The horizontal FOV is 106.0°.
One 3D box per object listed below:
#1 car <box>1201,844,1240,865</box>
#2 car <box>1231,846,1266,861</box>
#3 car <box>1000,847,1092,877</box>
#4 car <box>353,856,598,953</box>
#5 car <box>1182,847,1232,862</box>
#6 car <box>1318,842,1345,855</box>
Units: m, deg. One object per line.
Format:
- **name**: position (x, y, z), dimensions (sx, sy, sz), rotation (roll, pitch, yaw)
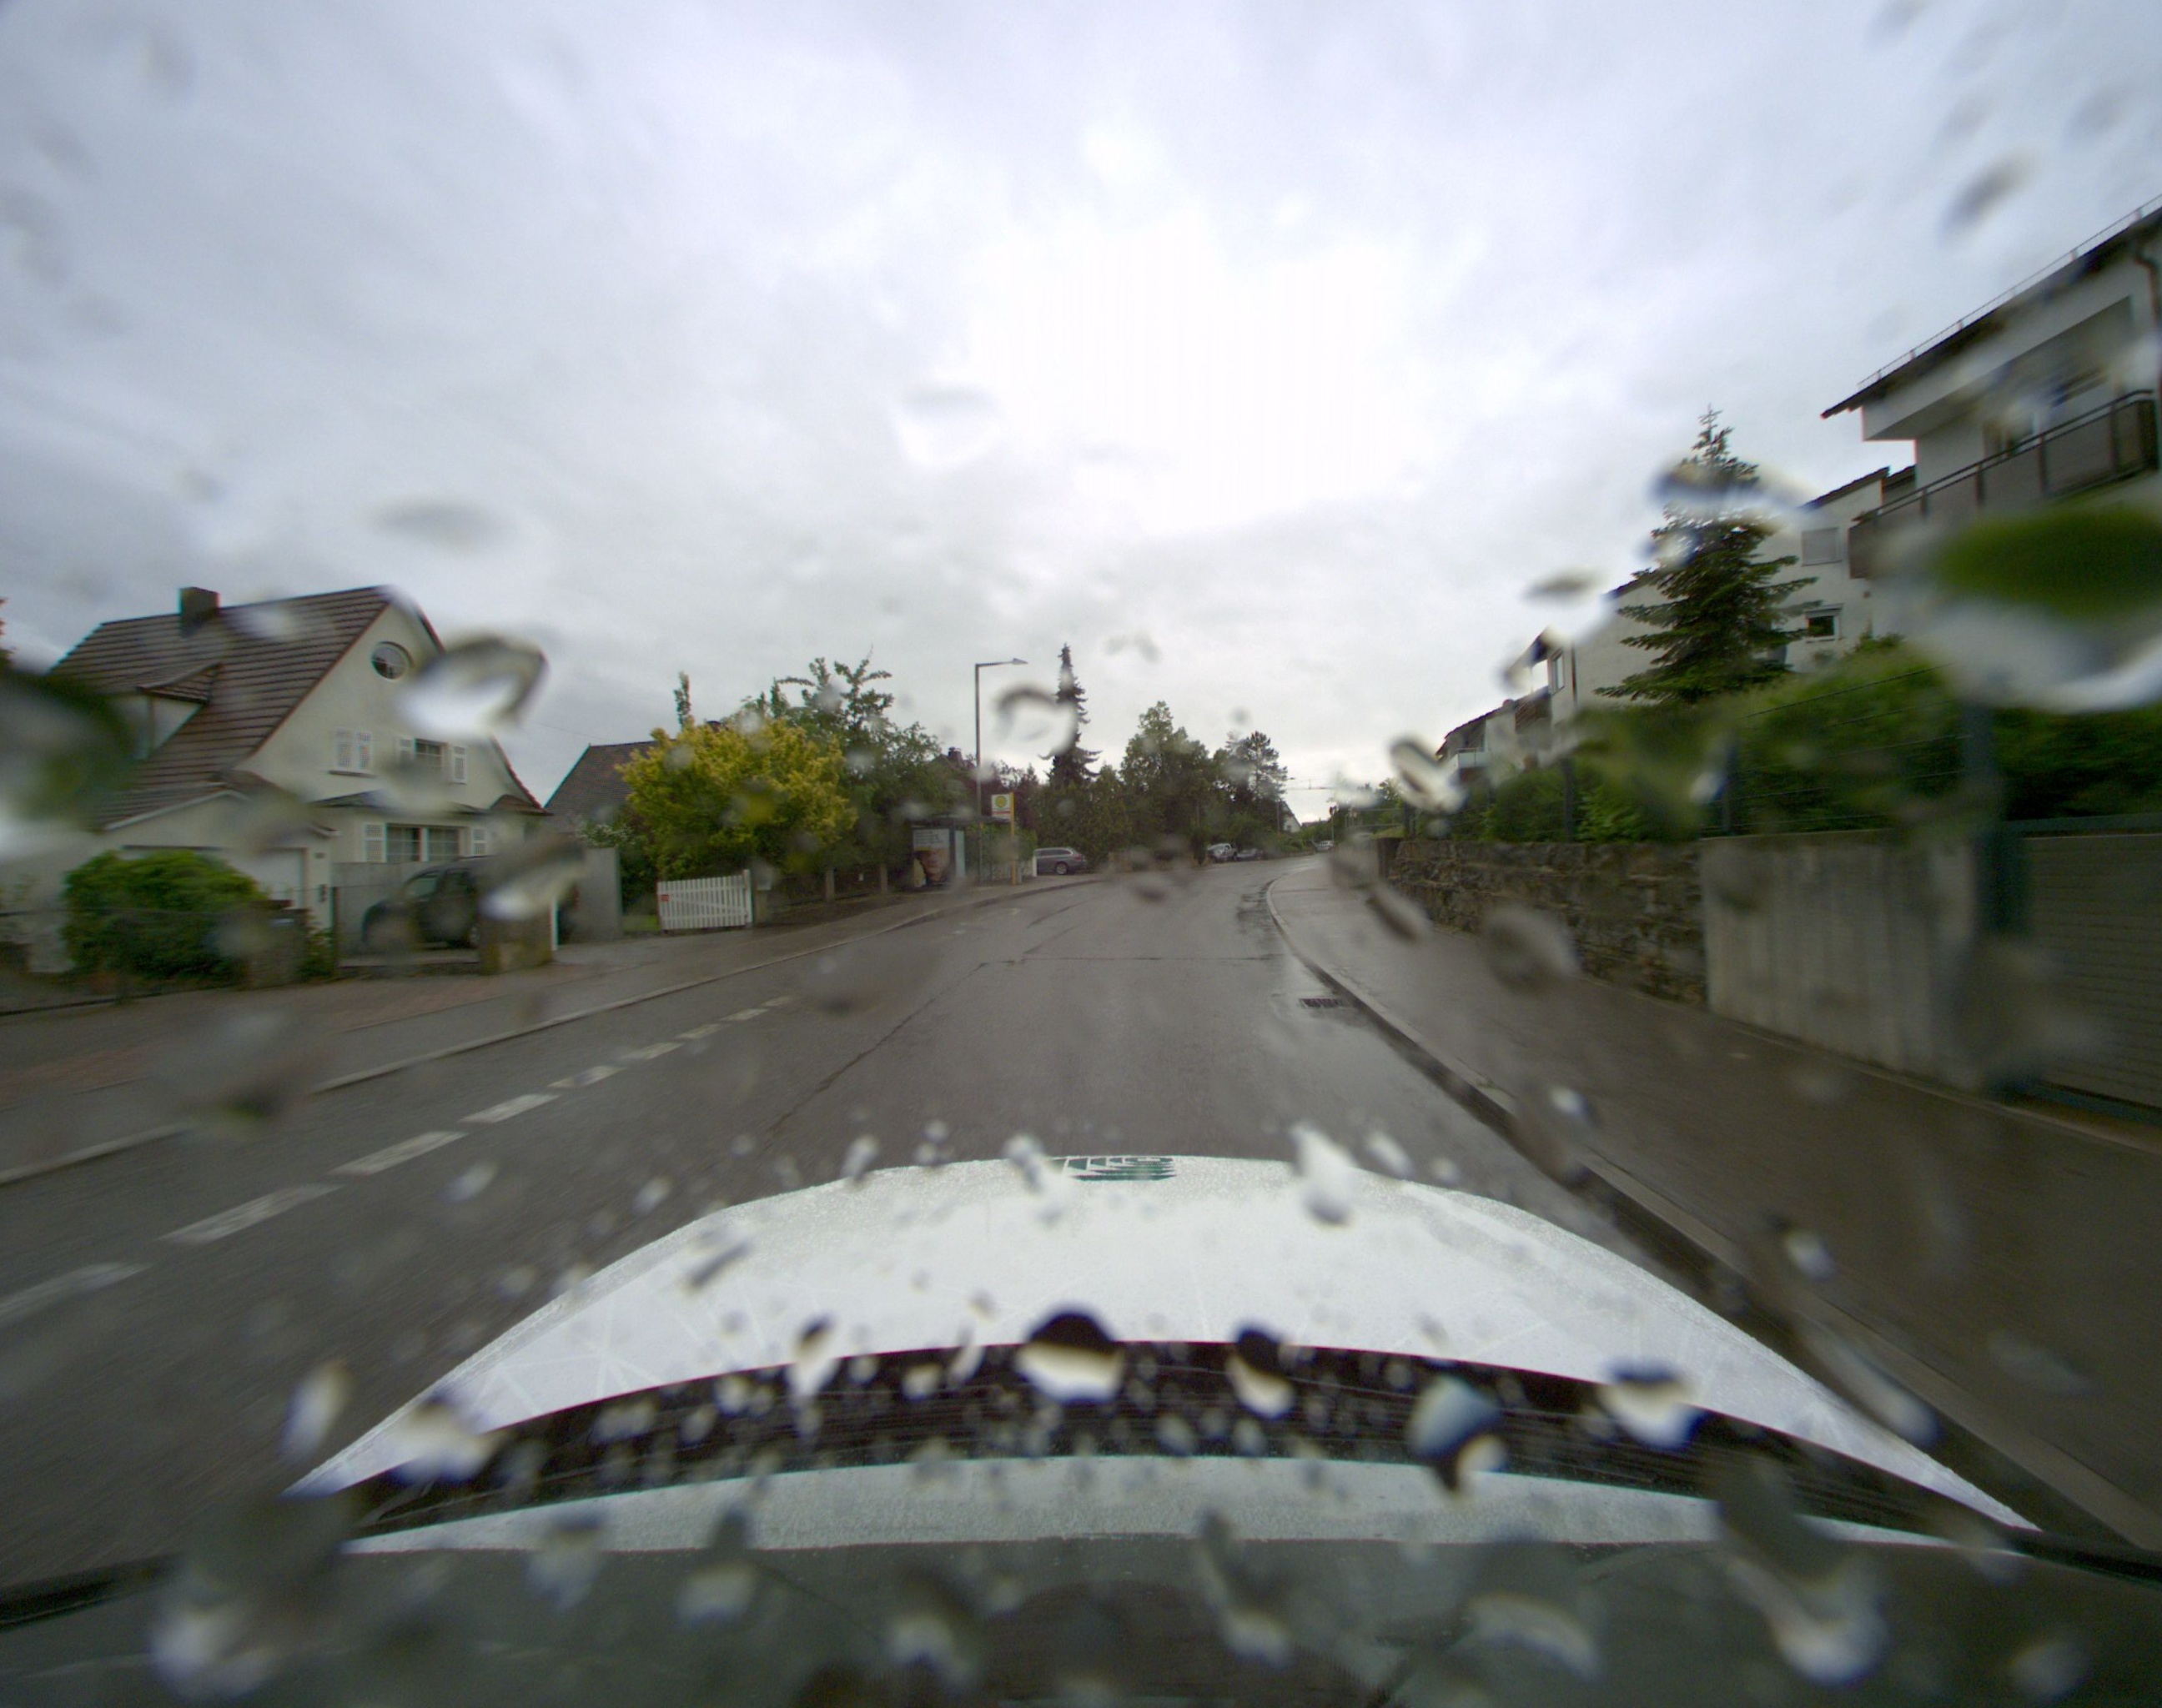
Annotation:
- **car**: position (13.879, 0.026, 80.679), dimensions (1.974, 1.843, 5.513), rotation (-2, 0, 30)
- **car**: position (16.525, -0.098, 80.073), dimensions (1.974, 1.307, 4.461), rotation (-3, 0, 31)
- **car**: position (-1.845, 0.427, 43.096), dimensions (4.511, 1.476, 1.845), rotation (-1, 0, 11)
- **car**: position (-12.326, 0.972, 16.659), dimensions (3.956, 1.784, 2.009), rotation (-1, 0, 16)
- **car**: position (11.224, 0.062, 72.530), dimensions (3.948, 1.271, 1.886), rotation (-2, 0, 34)
- **car**: position (32.246, -0.664, 104.632), dimensions (1.718, 1.551, 4.025), rotation (-2, 0, 42)
